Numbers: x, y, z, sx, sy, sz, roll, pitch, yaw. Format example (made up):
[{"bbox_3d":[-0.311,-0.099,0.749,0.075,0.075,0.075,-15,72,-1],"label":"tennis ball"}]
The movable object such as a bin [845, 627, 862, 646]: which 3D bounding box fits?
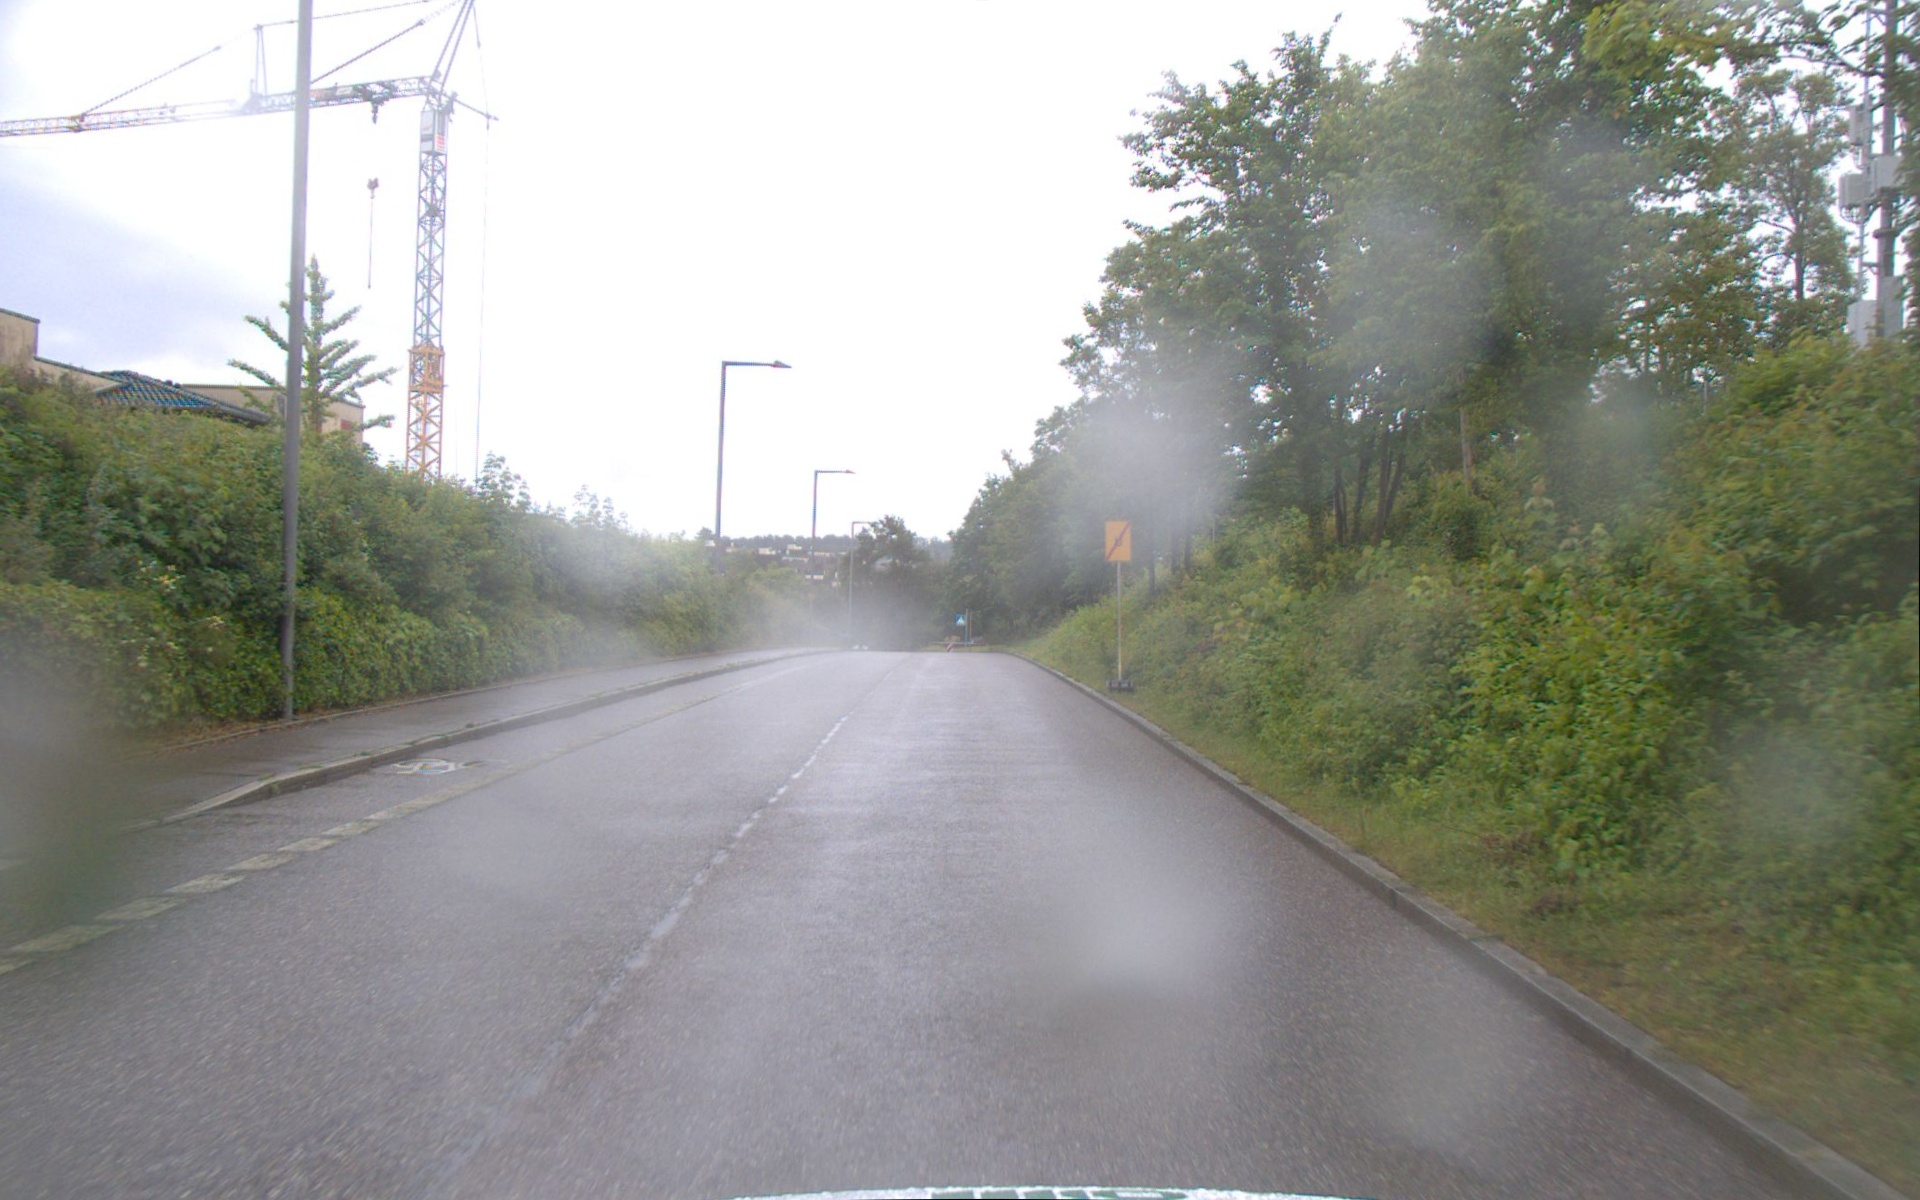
[{"bbox_3d":[-8.197,2.797,127.268,1.111,1.363,1.395,4,-3,-10],"label":"movable object such as a bin"}]
